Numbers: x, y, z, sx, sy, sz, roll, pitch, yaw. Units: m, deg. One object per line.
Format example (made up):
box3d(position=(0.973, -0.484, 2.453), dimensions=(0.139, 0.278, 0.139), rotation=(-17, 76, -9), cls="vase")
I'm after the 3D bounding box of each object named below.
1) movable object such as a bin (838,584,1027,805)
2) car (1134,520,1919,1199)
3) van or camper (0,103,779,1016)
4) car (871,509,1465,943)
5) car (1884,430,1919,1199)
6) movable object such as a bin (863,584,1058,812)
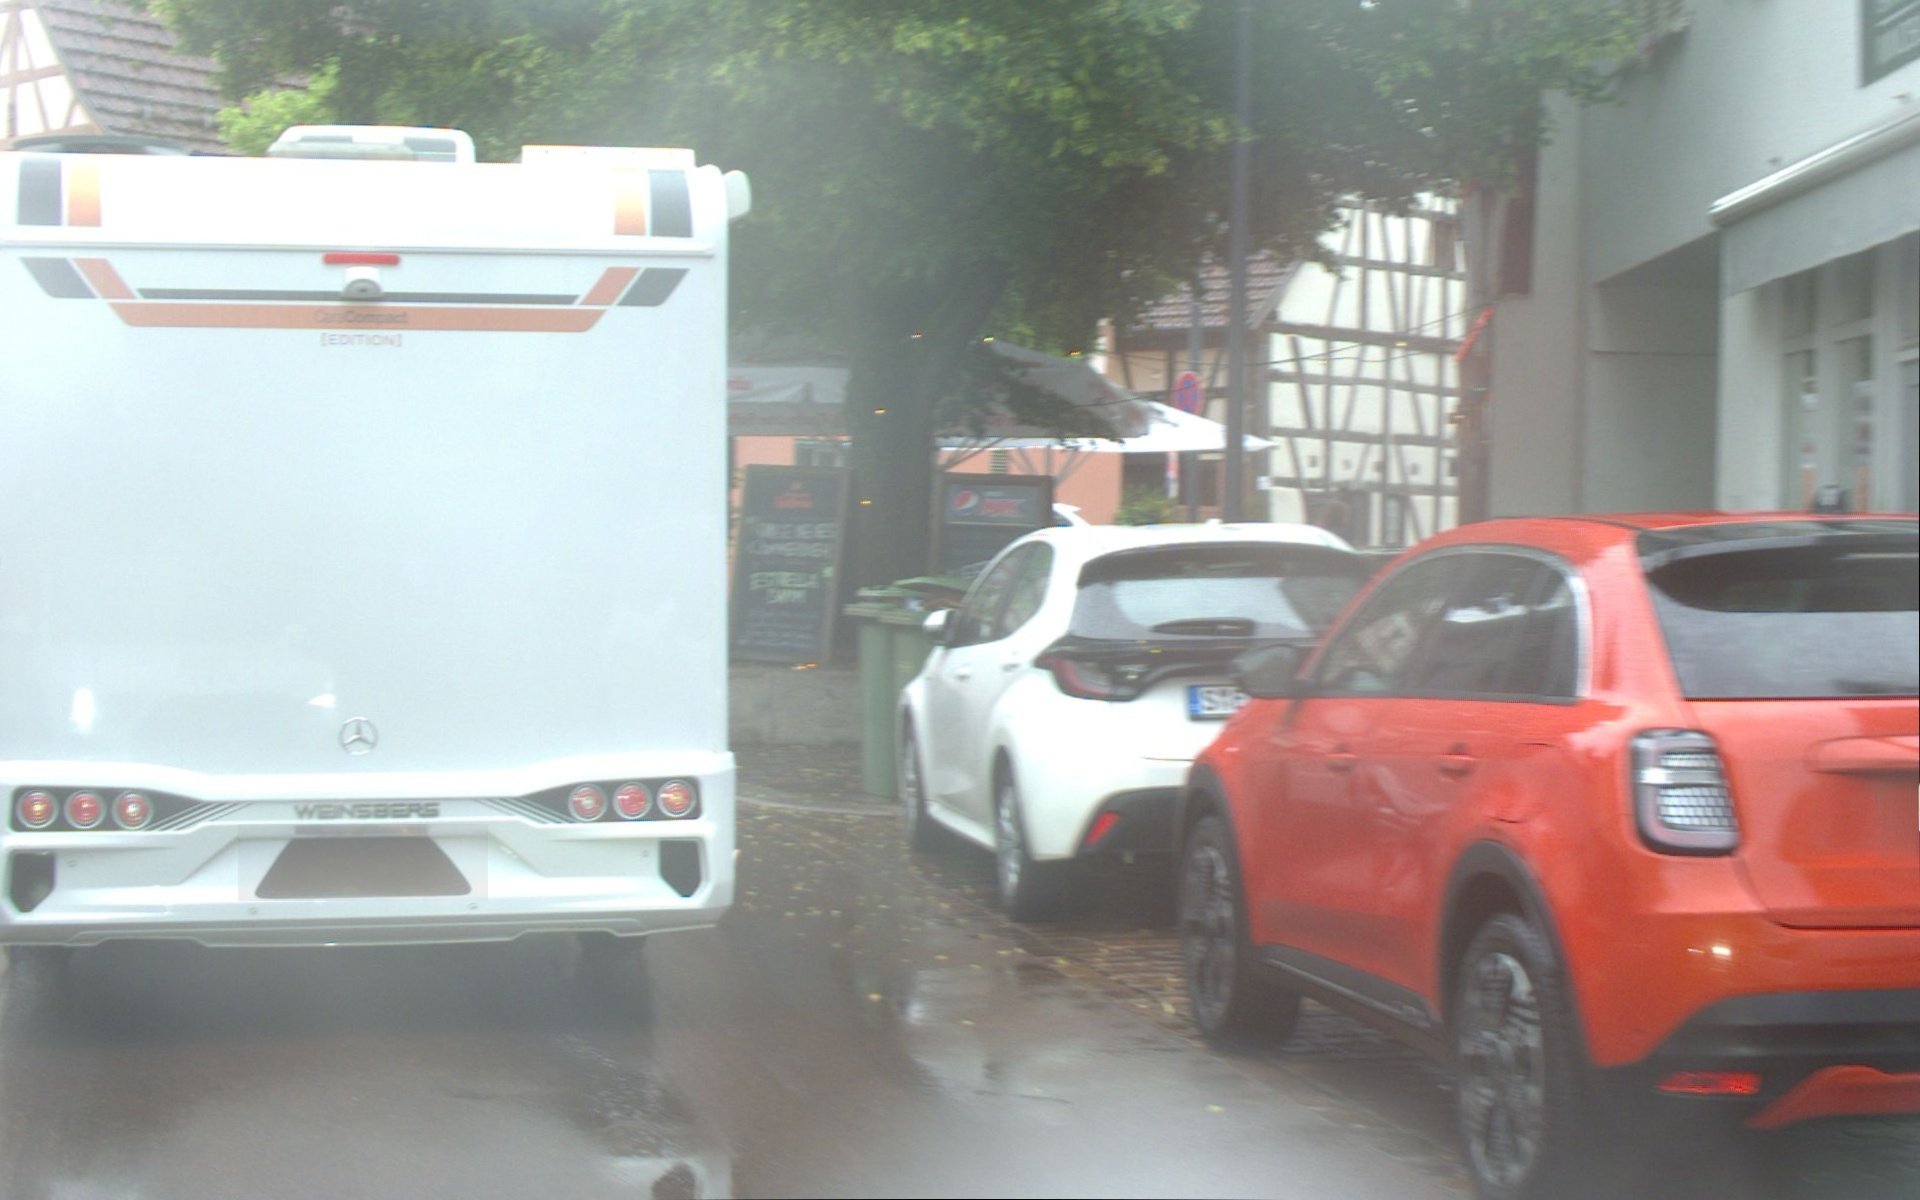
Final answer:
box3d(position=(-0.146, 0.484, 17.844), dimensions=(0.833, 1.108, 0.589), rotation=(2, 0, -14), cls="movable object such as a bin")
box3d(position=(1.686, 0.567, 8.575), dimensions=(1.676, 1.523, 3.800), rotation=(0, 1, -10), cls="car")
box3d(position=(-2.643, -0.172, 13.225), dimensions=(2.437, 2.576, 6.753), rotation=(1, 1, -15), cls="van or camper")
box3d(position=(0.705, 0.399, 14.189), dimensions=(1.676, 1.523, 3.800), rotation=(0, 2, -9), cls="car")
box3d(position=(2.794, 0.614, 3.379), dimensions=(1.775, 1.625, 4.471), rotation=(1, 1, -12), cls="car")
box3d(position=(-0.002, 0.487, 17.267), dimensions=(0.833, 1.108, 0.561), rotation=(2, 0, -14), cls="movable object such as a bin")
